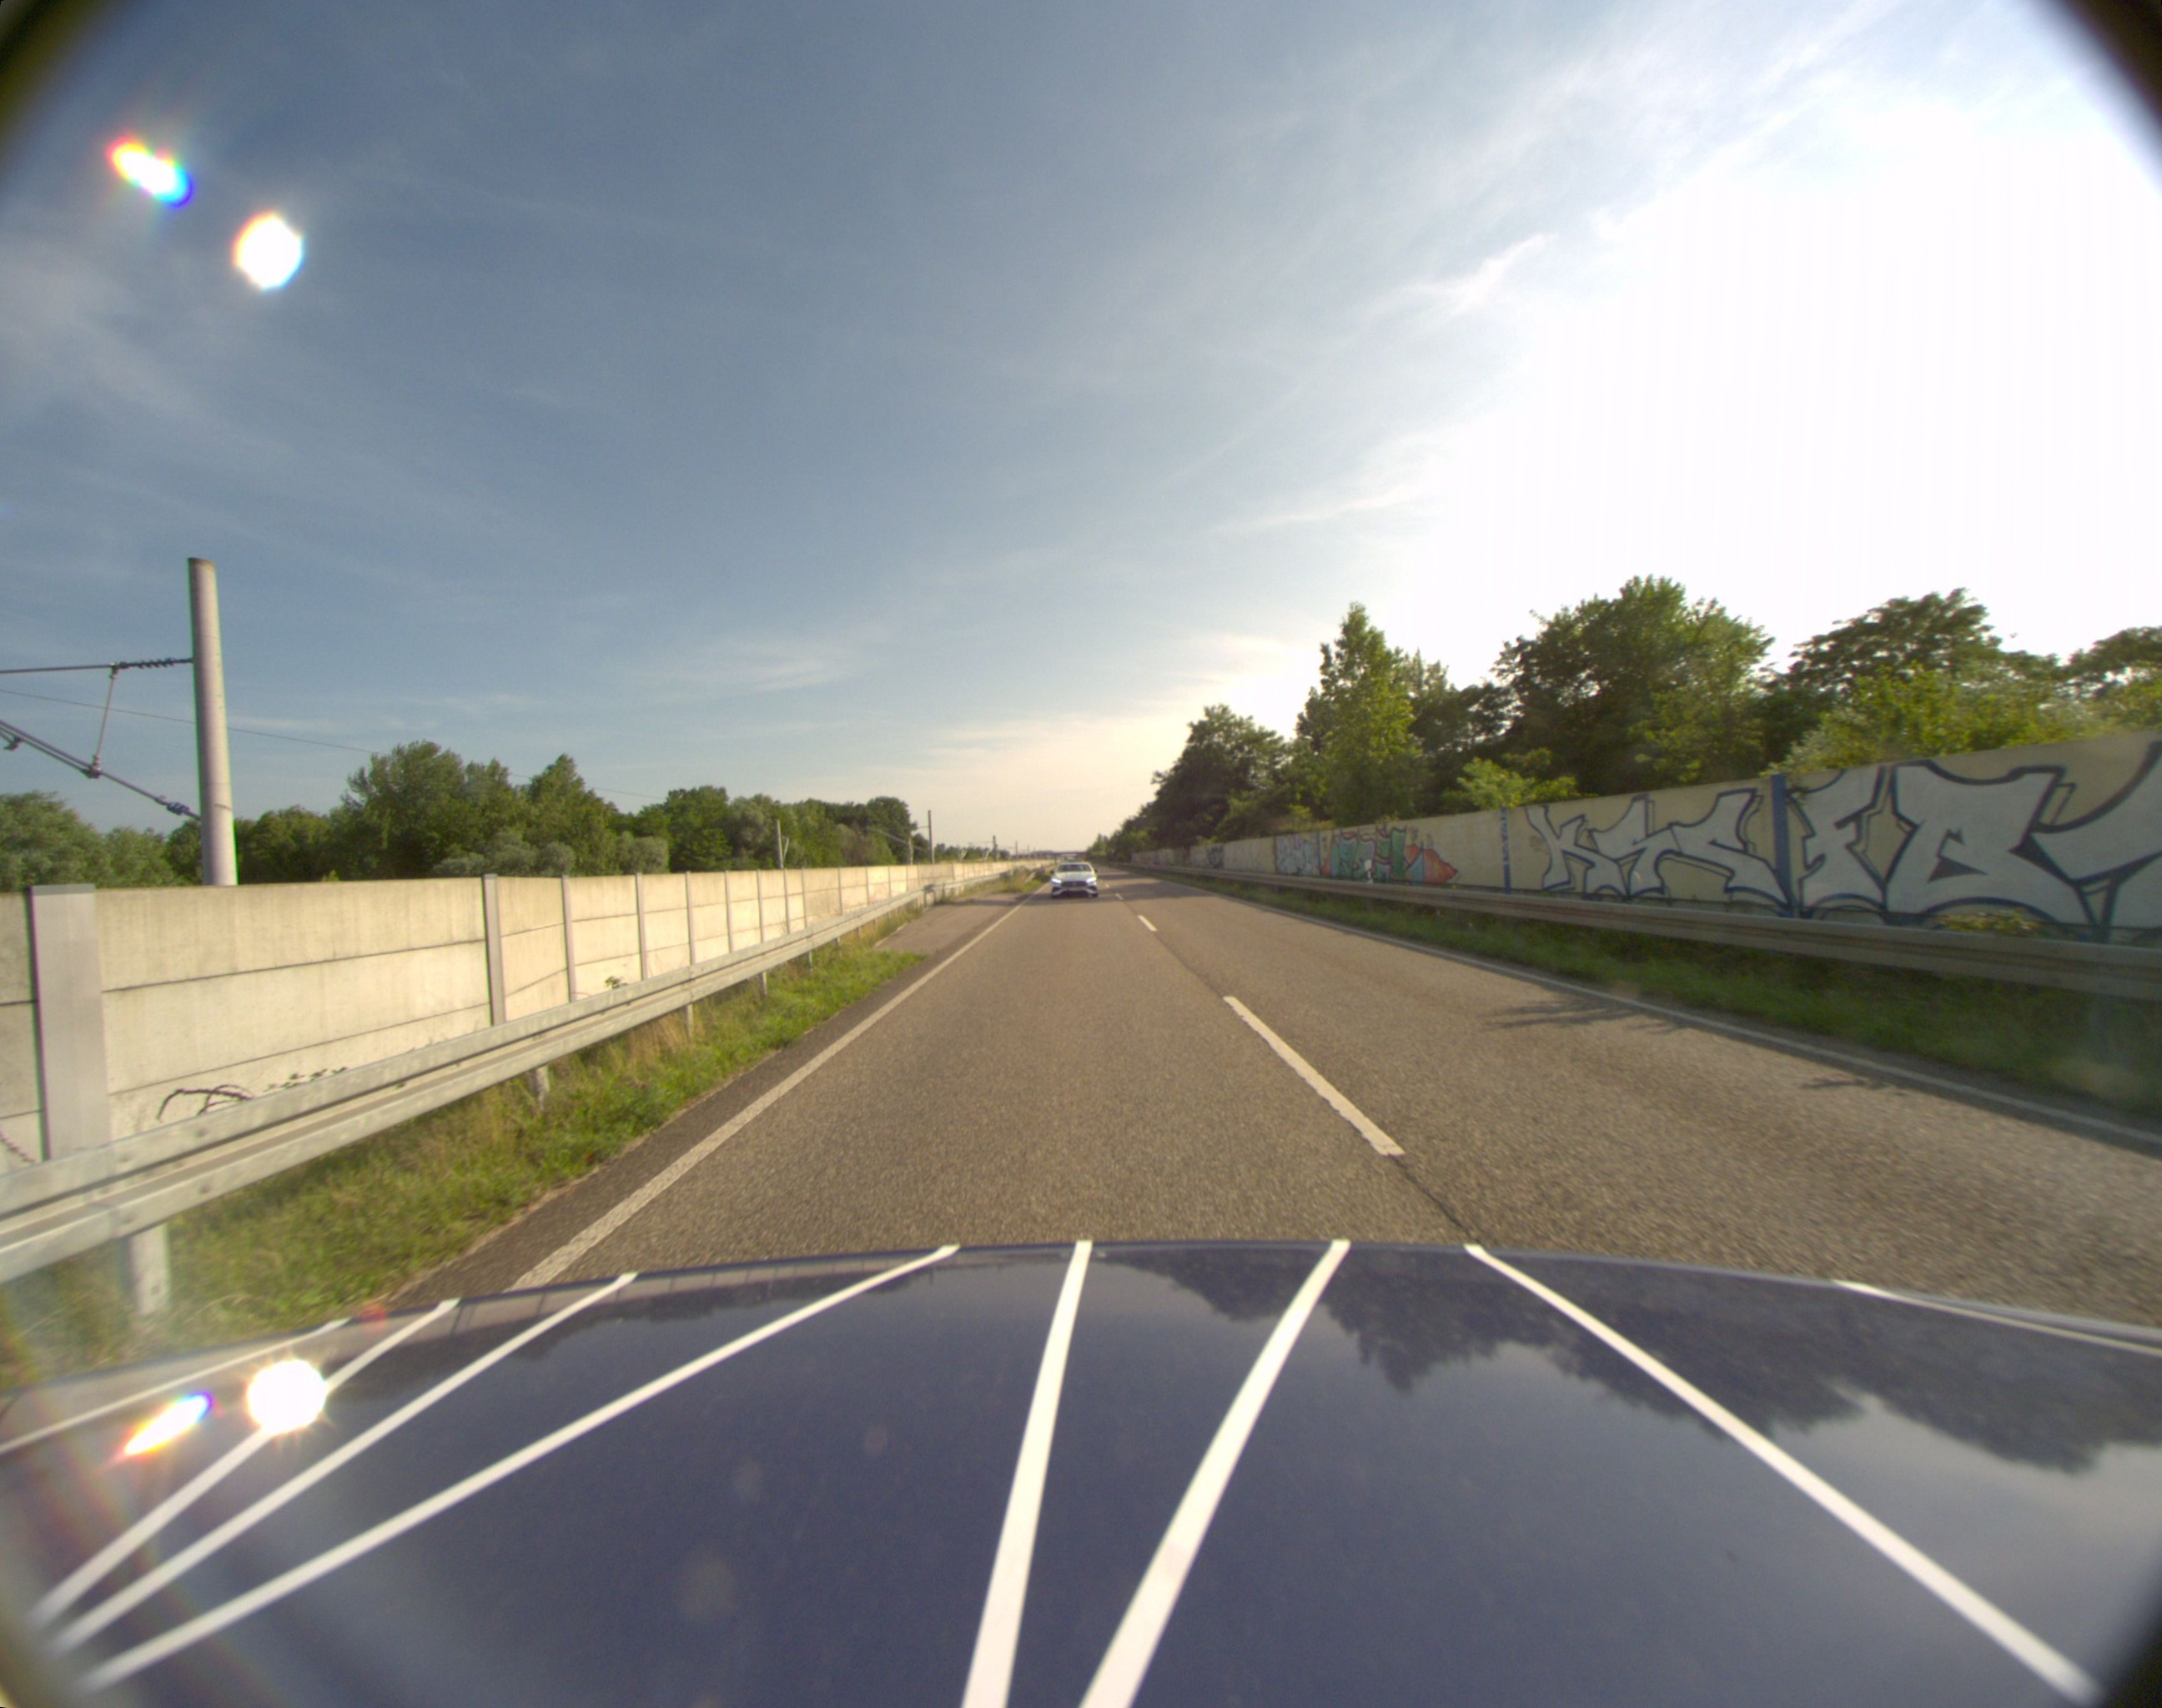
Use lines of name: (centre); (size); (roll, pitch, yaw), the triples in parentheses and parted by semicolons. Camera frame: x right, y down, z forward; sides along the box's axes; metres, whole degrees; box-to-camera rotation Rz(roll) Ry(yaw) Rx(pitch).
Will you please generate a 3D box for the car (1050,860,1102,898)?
car: (-0.212, 0.981, 31.635); (1.953, 1.430, 4.612); (-2, -1, -1)
